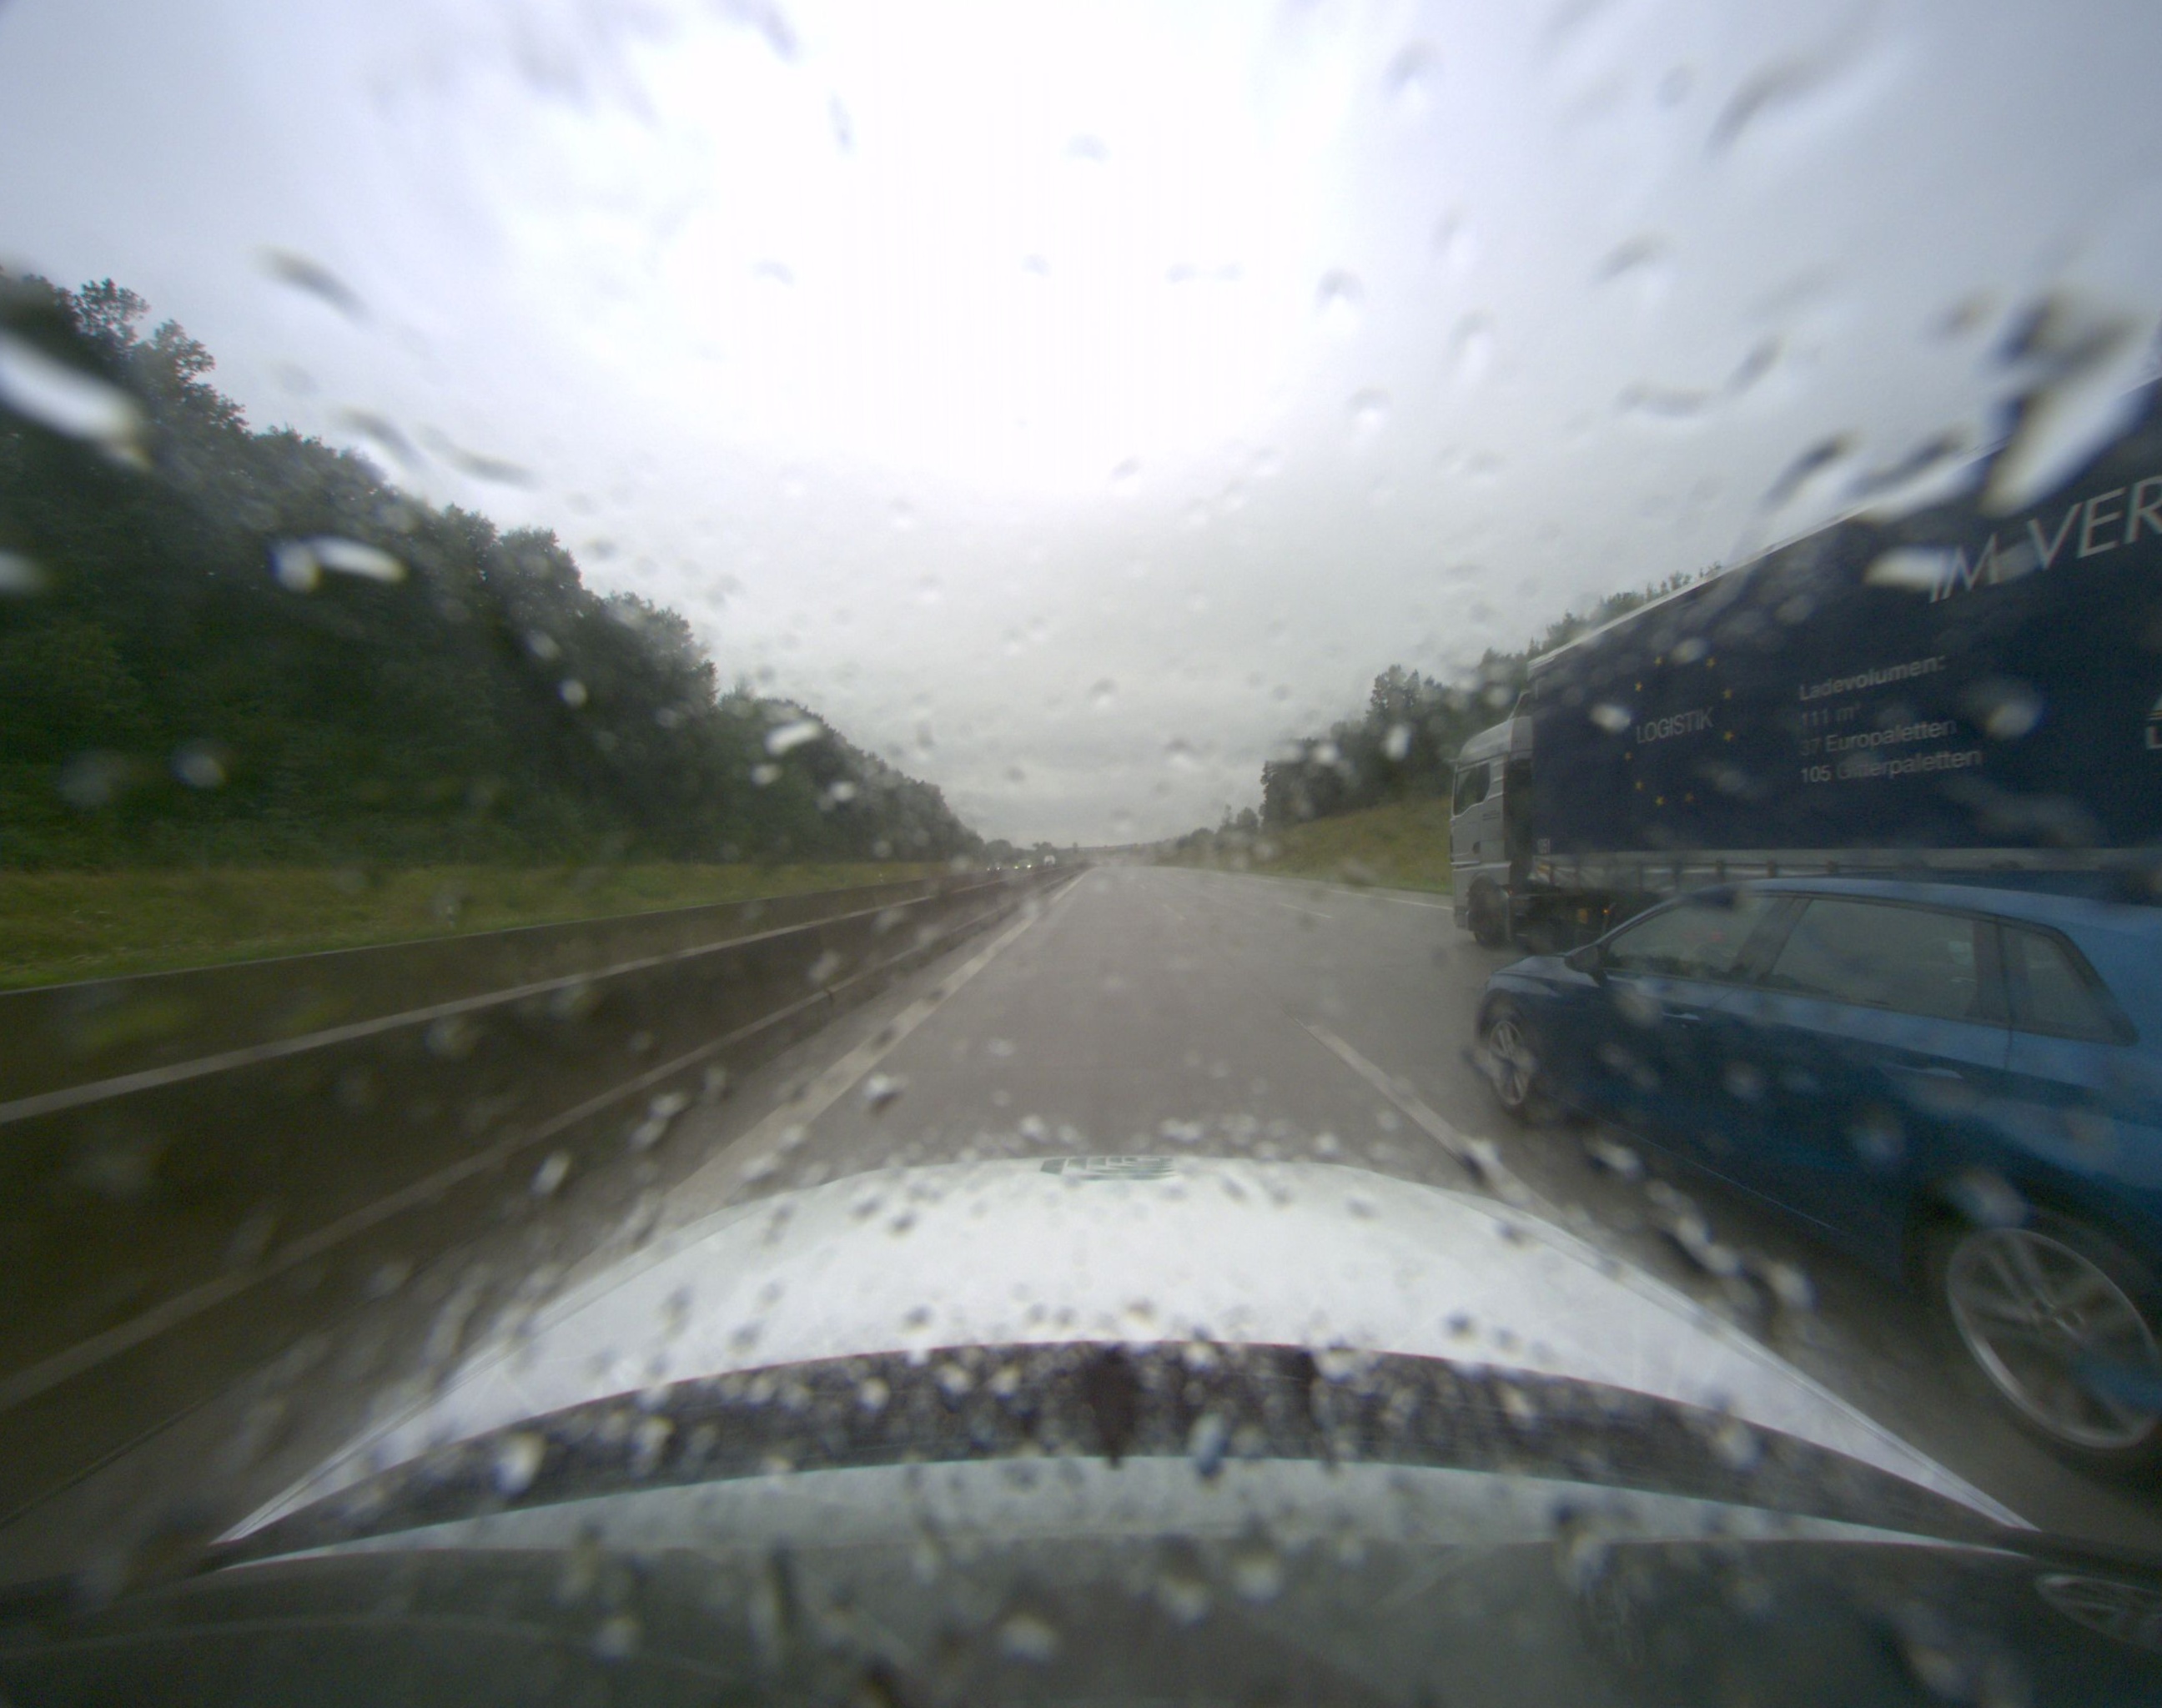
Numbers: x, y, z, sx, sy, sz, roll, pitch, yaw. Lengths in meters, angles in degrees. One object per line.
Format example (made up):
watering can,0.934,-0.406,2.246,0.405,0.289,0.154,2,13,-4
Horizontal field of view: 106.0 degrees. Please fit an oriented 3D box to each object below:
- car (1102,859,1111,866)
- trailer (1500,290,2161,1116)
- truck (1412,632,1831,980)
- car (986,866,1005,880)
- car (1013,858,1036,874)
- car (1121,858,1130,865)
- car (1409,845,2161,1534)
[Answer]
car,5.378,1.874,171.927,1.723,1.331,4.432,-1,0,2
trailer,7.069,-0.805,3.938,2.696,4.379,15.211,-1,0,2
truck,7.334,-0.552,12.162,2.626,3.954,5.689,-1,0,2
car,-12.033,2.711,114.811,2.053,1.802,4.852,-2,0,1
car,-6.370,1.333,92.489,1.960,1.610,4.855,-3,0,2
car,9.697,1.657,177.298,1.840,1.331,4.432,-1,0,2
car,3.229,0.733,3.644,1.723,1.459,4.674,-2,-1,2
